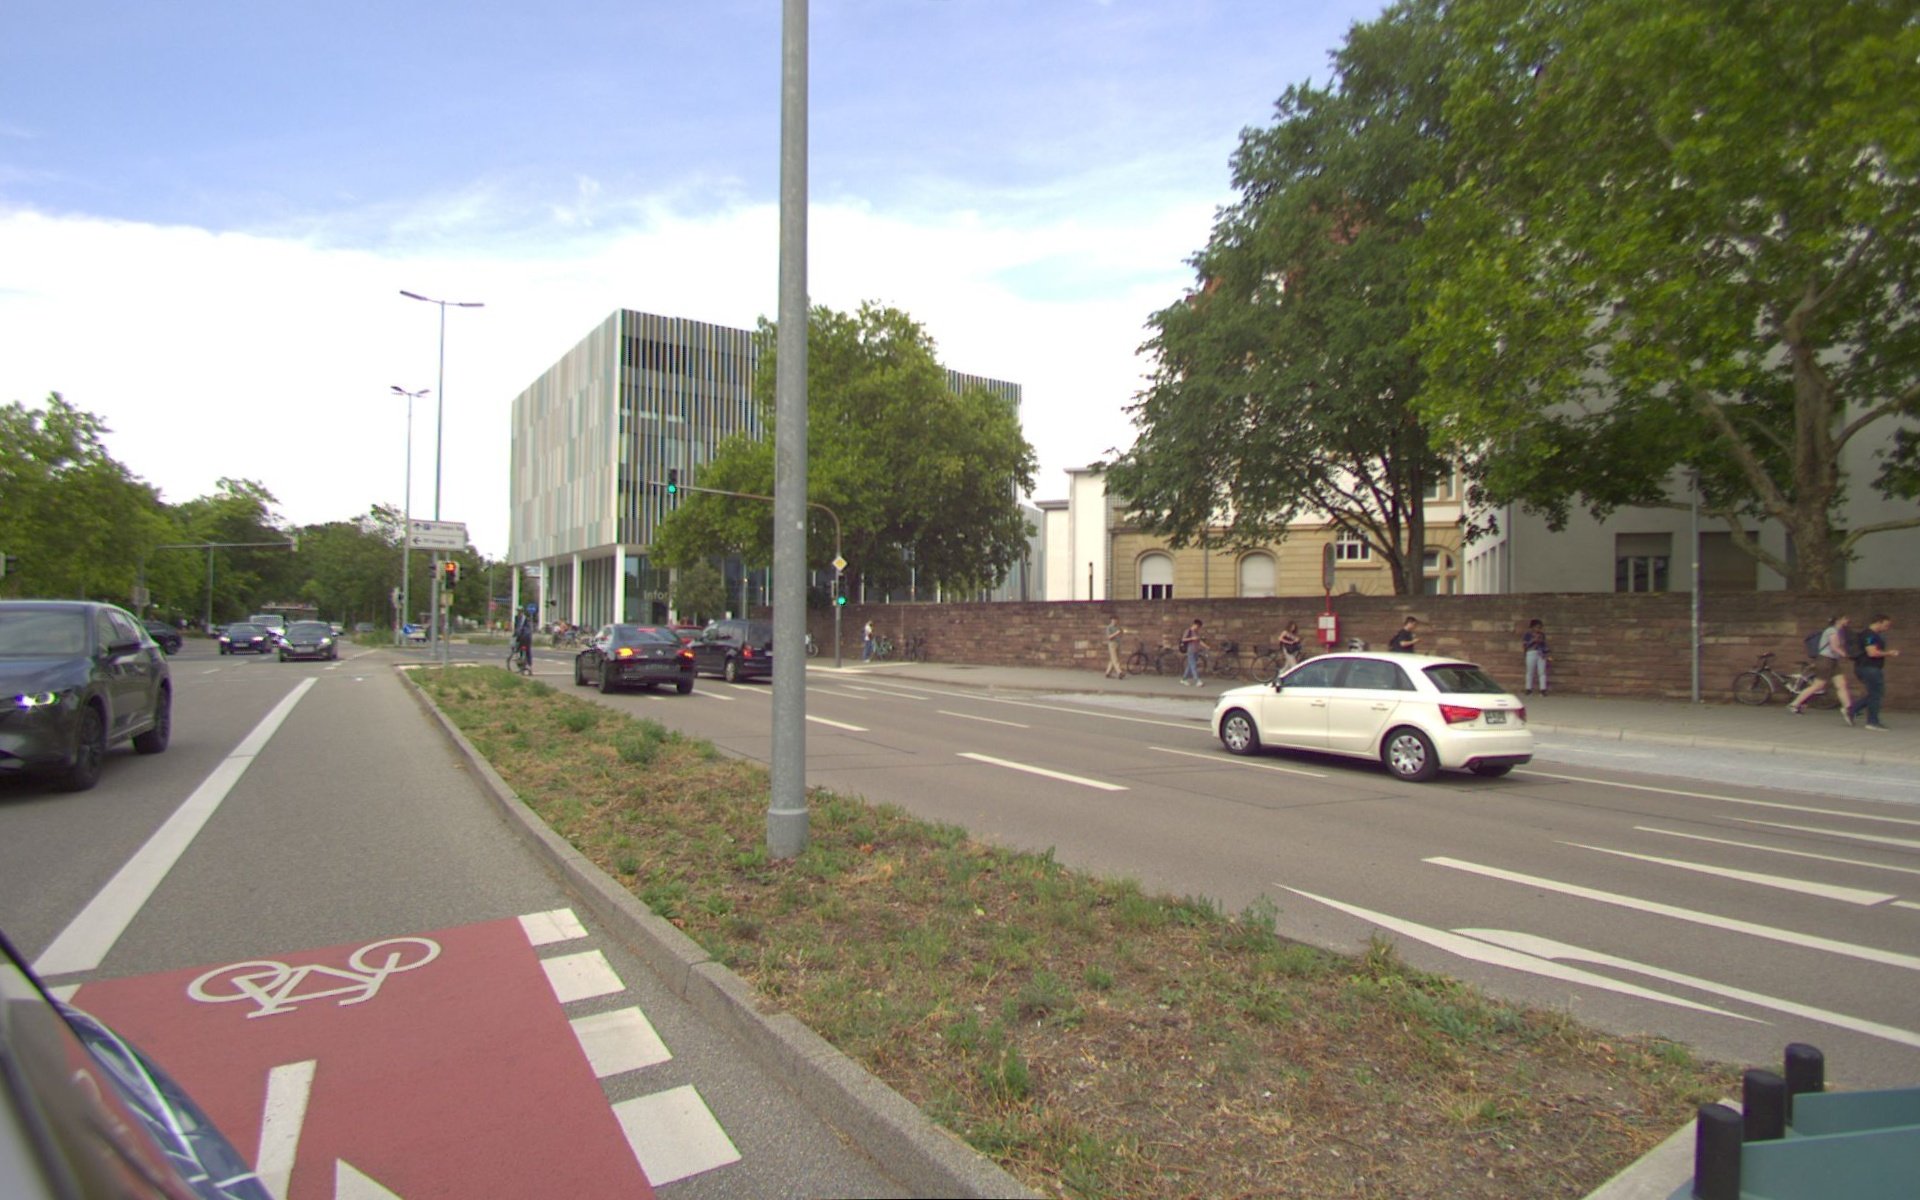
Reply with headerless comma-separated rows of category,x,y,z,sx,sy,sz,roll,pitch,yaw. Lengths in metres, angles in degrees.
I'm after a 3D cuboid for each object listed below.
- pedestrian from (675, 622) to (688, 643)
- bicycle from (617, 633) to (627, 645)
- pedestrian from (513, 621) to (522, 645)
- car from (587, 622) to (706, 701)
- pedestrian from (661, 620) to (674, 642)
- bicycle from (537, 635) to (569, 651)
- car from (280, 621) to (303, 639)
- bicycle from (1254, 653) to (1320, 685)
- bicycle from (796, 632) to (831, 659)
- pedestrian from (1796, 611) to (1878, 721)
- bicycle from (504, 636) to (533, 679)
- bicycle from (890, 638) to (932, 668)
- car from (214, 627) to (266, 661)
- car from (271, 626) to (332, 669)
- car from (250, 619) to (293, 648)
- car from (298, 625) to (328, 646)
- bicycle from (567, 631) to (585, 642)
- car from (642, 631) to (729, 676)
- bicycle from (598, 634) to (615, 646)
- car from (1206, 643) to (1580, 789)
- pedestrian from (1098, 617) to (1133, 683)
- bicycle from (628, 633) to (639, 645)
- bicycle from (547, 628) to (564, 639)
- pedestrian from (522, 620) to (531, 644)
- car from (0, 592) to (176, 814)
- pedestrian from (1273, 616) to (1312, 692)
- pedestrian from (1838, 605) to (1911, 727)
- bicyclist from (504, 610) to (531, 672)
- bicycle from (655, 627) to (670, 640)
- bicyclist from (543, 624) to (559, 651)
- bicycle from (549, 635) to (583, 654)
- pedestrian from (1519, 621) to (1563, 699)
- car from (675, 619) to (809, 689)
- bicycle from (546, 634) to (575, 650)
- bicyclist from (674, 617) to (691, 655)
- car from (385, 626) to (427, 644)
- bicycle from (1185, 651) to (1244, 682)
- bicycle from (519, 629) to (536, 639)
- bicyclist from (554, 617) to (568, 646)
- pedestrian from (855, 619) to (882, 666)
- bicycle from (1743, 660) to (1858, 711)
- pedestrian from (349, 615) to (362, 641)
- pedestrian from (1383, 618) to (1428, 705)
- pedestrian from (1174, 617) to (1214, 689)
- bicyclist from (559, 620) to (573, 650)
pedestrian,-21.844,2.542,79.409,0.675,1.612,0.724,-1,-2,25
bicycle,-28.706,3.331,85.973,0.388,0.944,1.598,-1,-1,-1
pedestrian,-33.980,2.544,77.719,0.504,1.851,0.774,2,-3,-35
car,-6.778,1.233,21.558,1.776,1.500,4.420,1,-2,-26
pedestrian,-23.041,2.457,79.680,0.674,1.753,0.725,0,-2,22
bicycle,-26.606,2.808,66.201,0.728,0.996,1.797,-1,-1,42
car,-69.699,3.140,105.550,1.835,1.896,4.011,2,-2,-32
bicycle,8.515,1.784,26.361,0.435,0.803,1.623,-1,-2,-40
bicycle,-6.454,2.003,44.515,0.570,1.134,2.170,-2,0,-36
pedestrian,14.914,1.088,17.235,0.911,1.796,0.753,1,-1,30
bicycle,-11.469,1.478,26.278,0.565,1.063,1.932,1,-2,-27
bicycle,-1.878,2.013,38.677,0.541,1.066,1.985,-2,0,-38
car,-33.270,1.998,46.726,1.636,1.475,4.007,-1,-1,-40
car,-24.942,1.760,38.430,1.633,1.475,4.012,-1,-1,-29
car,-42.864,2.081,63.062,1.966,1.785,4.012,2,-2,-31
car,-48.781,2.687,76.290,1.634,1.475,4.009,-1,-1,-36
bicycle,-36.288,3.449,95.725,1.522,0.944,0.395,-1,-1,-39
car,-9.900,1.868,36.276,1.777,1.500,4.300,1,-2,-32
bicycle,-30.429,3.434,87.134,0.391,0.944,1.599,-1,-1,22
car,4.982,1.257,12.190,1.647,1.400,3.934,3,-3,-30
pedestrian,4.378,1.392,28.467,0.780,1.796,0.740,1,-1,26
bicycle,-27.701,3.321,85.835,0.388,0.944,1.598,-1,-1,-1
bicycle,-41.786,3.463,104.552,1.557,1.031,0.390,-1,-1,-39
pedestrian,-33.476,2.475,78.094,0.504,1.851,0.626,2,-3,-35
car,-8.861,0.818,9.317,1.873,1.661,4.659,1,-2,-29
pedestrian,8.129,1.303,24.735,0.780,1.796,0.754,1,-1,27
pedestrian,13.950,0.990,15.452,0.720,1.796,0.752,1,-2,35
bicyclist,-11.483,1.068,26.268,0.564,1.586,0.701,1,-2,-27
bicycle,-25.014,2.802,85.028,0.391,1.037,1.537,-1,-1,18
bicyclist,-26.694,2.444,66.114,0.723,1.685,0.718,-1,-1,42
bicycle,-24.612,2.750,63.247,0.606,1.179,1.869,-1,-2,41
pedestrian,12.417,1.263,21.632,0.734,1.604,0.581,1,-1,36
car,-5.835,1.399,26.716,1.778,1.678,4.310,4,-3,-36
bicycle,-25.459,2.650,64.528,0.571,0.996,1.668,-1,-3,42
bicyclist,-13.472,1.736,49.140,0.609,1.796,0.814,1,-2,-26
car,-46.522,2.934,84.910,4.415,1.500,1.782,-1,-2,43
bicycle,7.058,1.831,28.101,0.435,0.803,1.623,-1,-2,-40
bicycle,-49.192,3.871,115.062,1.677,1.031,0.435,-1,-1,-39
bicyclist,-25.455,2.022,64.541,0.562,1.820,0.593,-1,-1,42
pedestrian,-3.622,1.679,40.183,0.779,1.796,0.741,1,-1,24
bicycle,15.596,1.570,18.809,1.620,0.834,0.436,-1,0,42
pedestrian,-42.757,1.974,71.578,0.715,1.867,1.067,1,-2,-36
pedestrian,9.483,1.292,21.547,0.781,1.796,0.753,1,-1,30
pedestrian,5.963,1.331,25.773,0.780,1.796,0.754,1,-1,29
bicyclist,-24.623,2.178,63.245,0.561,1.820,0.593,-2,-3,41
